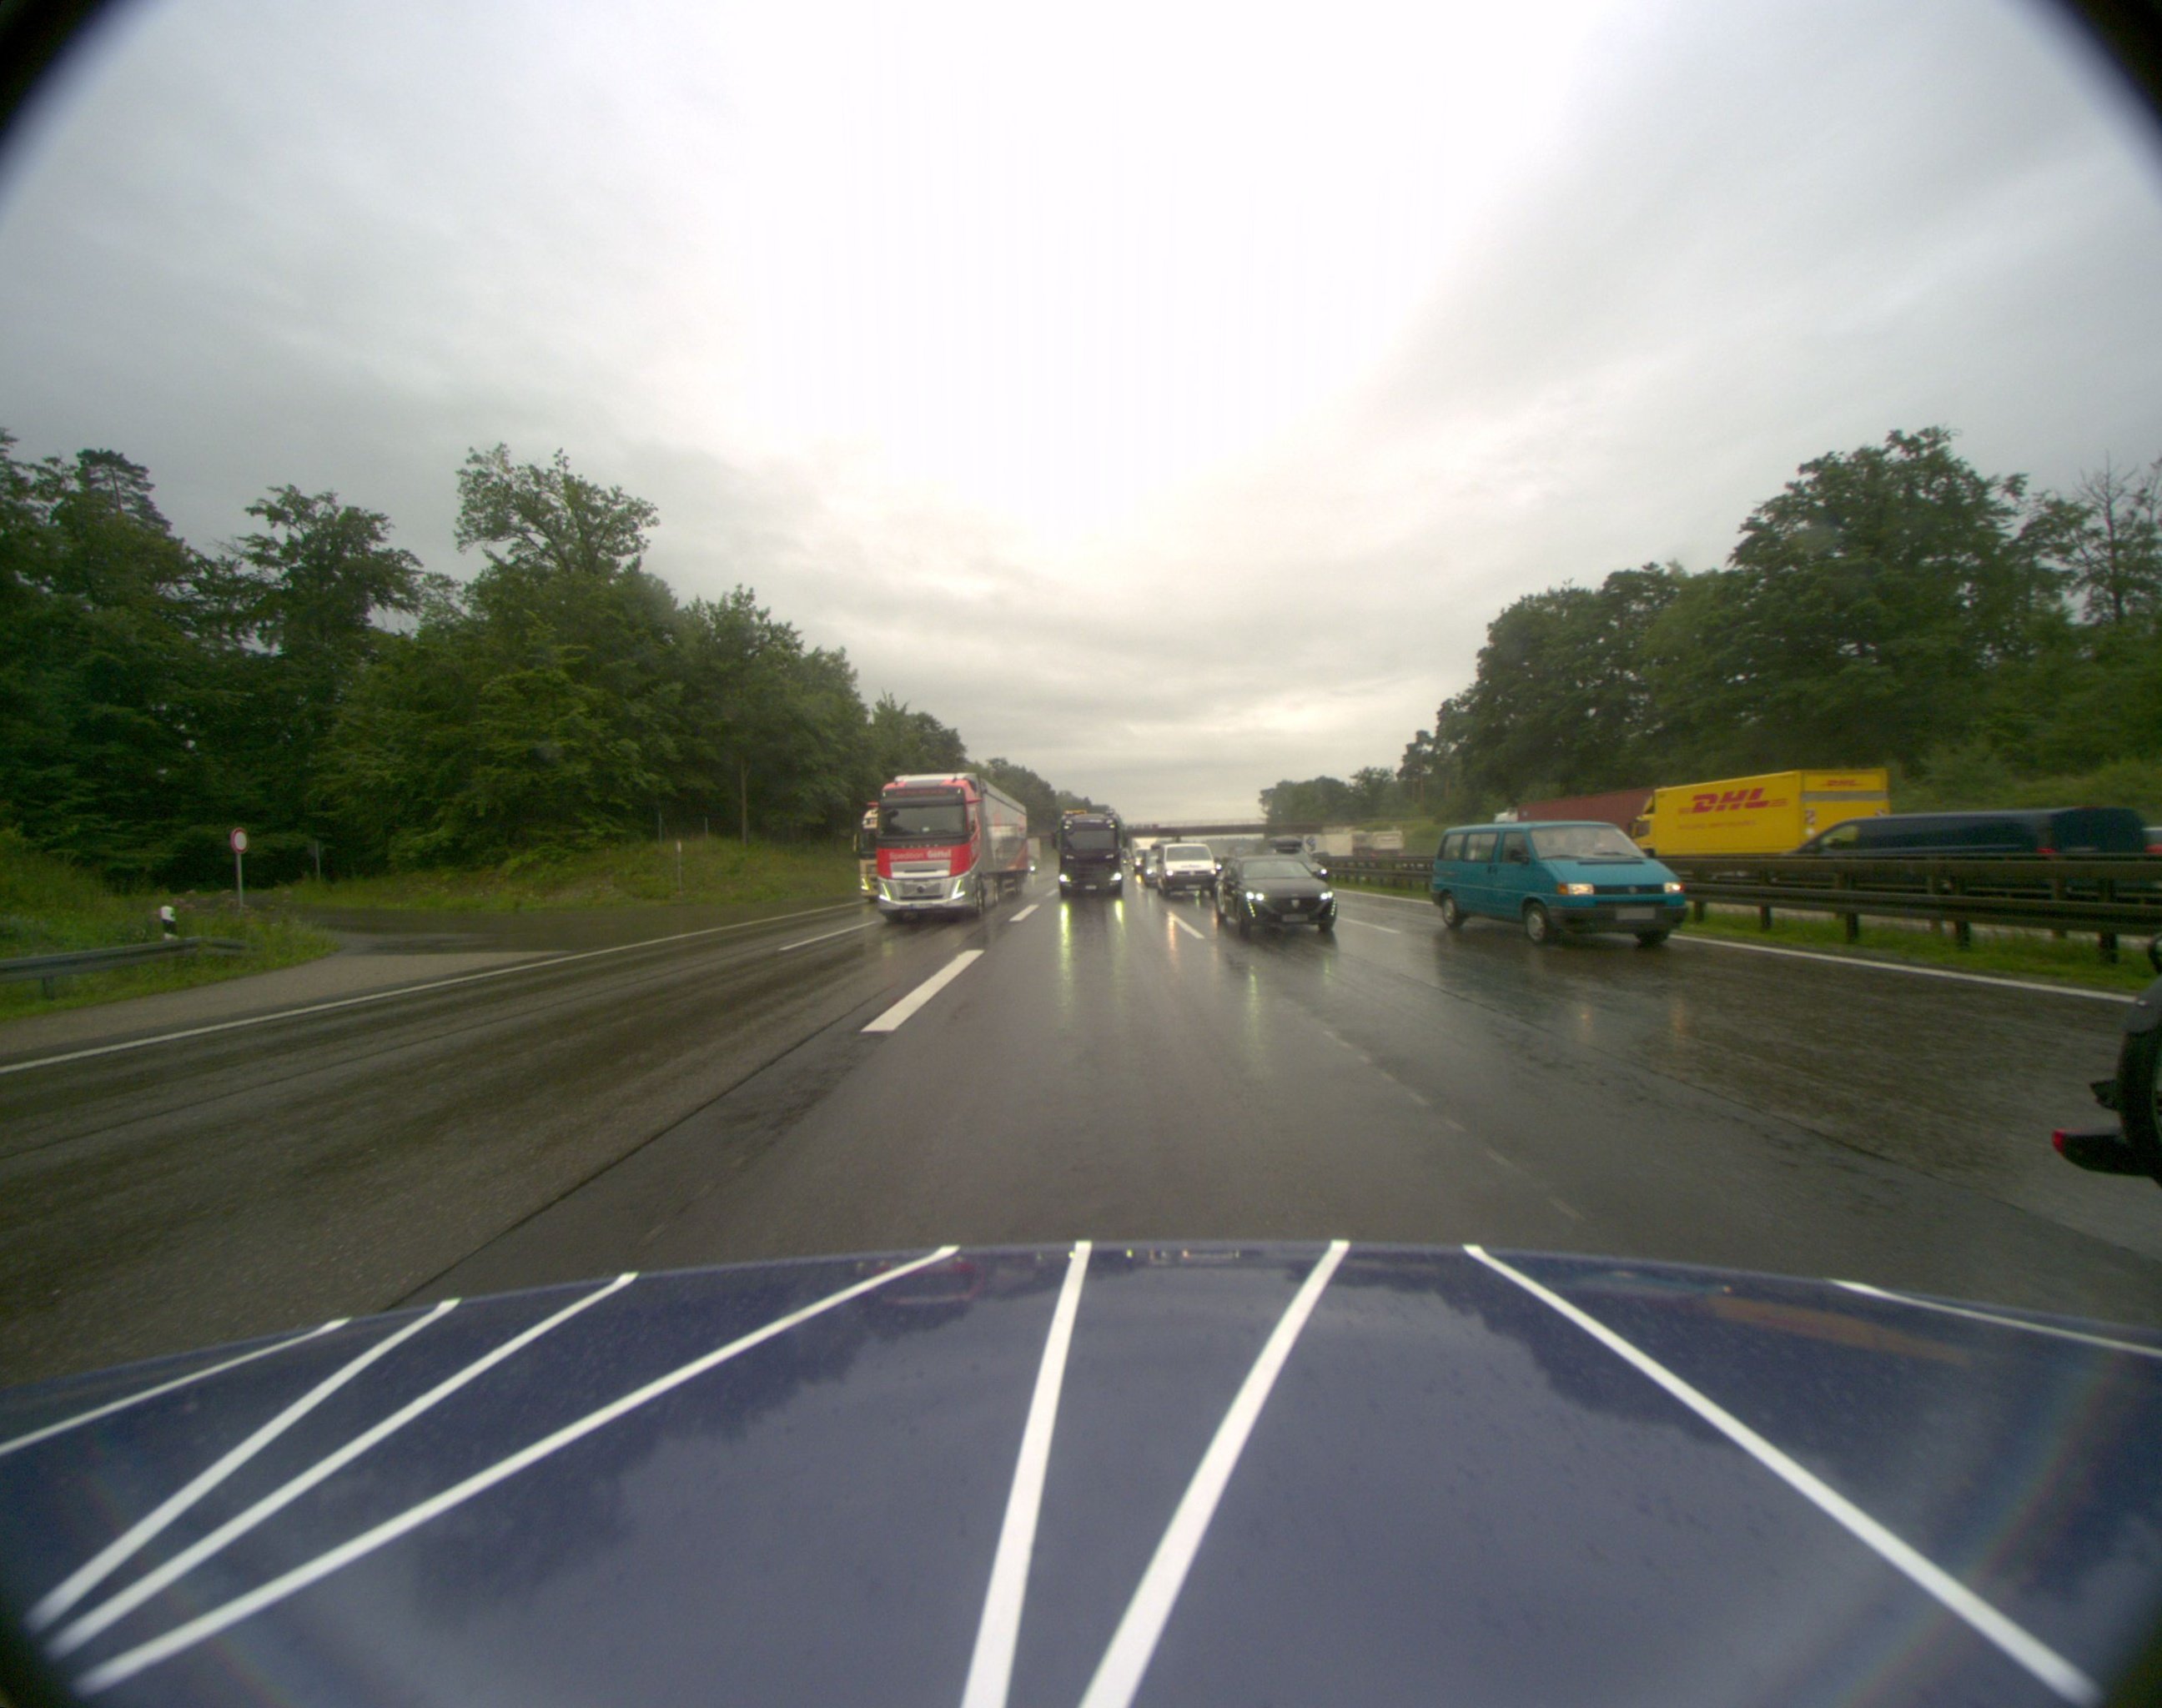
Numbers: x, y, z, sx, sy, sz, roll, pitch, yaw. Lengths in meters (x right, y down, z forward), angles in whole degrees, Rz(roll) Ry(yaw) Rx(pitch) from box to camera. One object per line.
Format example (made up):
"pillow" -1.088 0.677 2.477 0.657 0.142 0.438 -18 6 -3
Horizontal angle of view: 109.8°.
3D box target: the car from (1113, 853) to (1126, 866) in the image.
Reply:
"car" 6.436 0.843 126.420 1.998 2.002 4.000 -2 0 2

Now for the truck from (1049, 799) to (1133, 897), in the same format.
"truck" 0.750 -0.282 33.729 2.878 3.528 10.913 -2 1 5

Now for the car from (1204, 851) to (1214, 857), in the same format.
"car" 32.407 0.064 192.000 1.998 1.498 4.708 -1 0 3

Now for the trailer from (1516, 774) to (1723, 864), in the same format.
"trailer" 28.264 -1.642 41.046 2.625 4.002 12.374 -2 0 2

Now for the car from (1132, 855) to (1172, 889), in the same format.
"car" 3.481 0.832 37.870 1.850 1.496 4.467 -2 0 4

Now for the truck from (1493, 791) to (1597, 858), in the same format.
"truck" 28.485 -1.697 46.989 2.710 3.795 6.265 -2 0 3

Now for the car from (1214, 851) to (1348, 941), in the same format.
"car" 3.928 0.741 15.693 1.850 1.496 4.467 -2 1 4

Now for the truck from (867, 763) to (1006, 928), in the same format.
"truck" -3.834 -0.224 21.476 2.608 3.934 5.600 -2 1 1

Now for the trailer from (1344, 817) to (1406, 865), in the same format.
"trailer" 26.135 -1.090 68.026 2.382 3.931 9.424 -1 0 3

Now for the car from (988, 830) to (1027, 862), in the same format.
"car" -4.851 -0.532 50.502 1.998 2.002 4.000 -2 0 2

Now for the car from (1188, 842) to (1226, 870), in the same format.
"car" 8.925 0.124 54.175 1.982 1.814 4.606 -2 0 2

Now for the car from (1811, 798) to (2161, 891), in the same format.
"car" 16.134 -0.161 13.384 1.806 1.337 4.848 -1 0 -2

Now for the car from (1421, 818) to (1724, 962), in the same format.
"car" 7.639 0.466 12.531 1.915 1.852 4.759 -2 0 1

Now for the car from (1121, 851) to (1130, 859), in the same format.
"car" 9.451 0.205 161.989 1.864 1.554 4.436 -2 0 2

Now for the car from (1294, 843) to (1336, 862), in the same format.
"car" 16.631 -0.092 54.149 1.701 1.212 4.208 -2 0 1

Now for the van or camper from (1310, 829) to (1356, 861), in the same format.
"van or camper" 21.269 -0.749 64.477 2.203 2.532 6.121 -1 0 4

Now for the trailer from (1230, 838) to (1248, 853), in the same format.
"trailer" 41.122 -2.165 198.188 3.030 3.795 13.566 -2 0 6

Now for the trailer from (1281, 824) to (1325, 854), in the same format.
"trailer" 32.086 -2.090 110.421 2.726 3.931 13.961 -1 0 2

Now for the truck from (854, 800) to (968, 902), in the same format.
"truck" -7.434 -0.152 34.937 2.608 3.934 9.939 -2 0 1

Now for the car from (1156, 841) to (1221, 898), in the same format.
"car" 3.873 0.520 28.213 1.994 1.869 4.768 -2 0 4

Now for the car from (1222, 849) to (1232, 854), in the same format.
"car" 34.890 -0.567 181.535 1.705 1.297 3.757 -2 0 4

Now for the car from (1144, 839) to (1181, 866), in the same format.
"car" 5.083 -0.100 47.938 1.994 1.551 4.768 -2 0 3

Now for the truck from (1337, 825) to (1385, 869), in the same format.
"truck" 26.378 -0.631 71.826 2.382 3.931 6.538 -1 1 4

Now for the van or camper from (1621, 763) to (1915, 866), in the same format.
"van or camper" 23.547 -1.205 26.982 2.848 2.961 8.788 -2 0 4

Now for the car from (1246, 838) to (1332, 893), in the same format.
"car" 7.698 0.388 28.610 1.982 1.814 4.606 -2 0 1

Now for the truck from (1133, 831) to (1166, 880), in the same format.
"truck" 5.896 0.143 66.320 2.520 3.941 6.996 -2 0 4

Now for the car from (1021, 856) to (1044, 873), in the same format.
"car" -4.923 1.061 77.964 1.864 1.554 4.406 -2 0 2

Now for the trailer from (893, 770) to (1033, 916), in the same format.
"trailer" -3.734 -0.342 28.325 2.608 3.934 14.580 -2 0 1
